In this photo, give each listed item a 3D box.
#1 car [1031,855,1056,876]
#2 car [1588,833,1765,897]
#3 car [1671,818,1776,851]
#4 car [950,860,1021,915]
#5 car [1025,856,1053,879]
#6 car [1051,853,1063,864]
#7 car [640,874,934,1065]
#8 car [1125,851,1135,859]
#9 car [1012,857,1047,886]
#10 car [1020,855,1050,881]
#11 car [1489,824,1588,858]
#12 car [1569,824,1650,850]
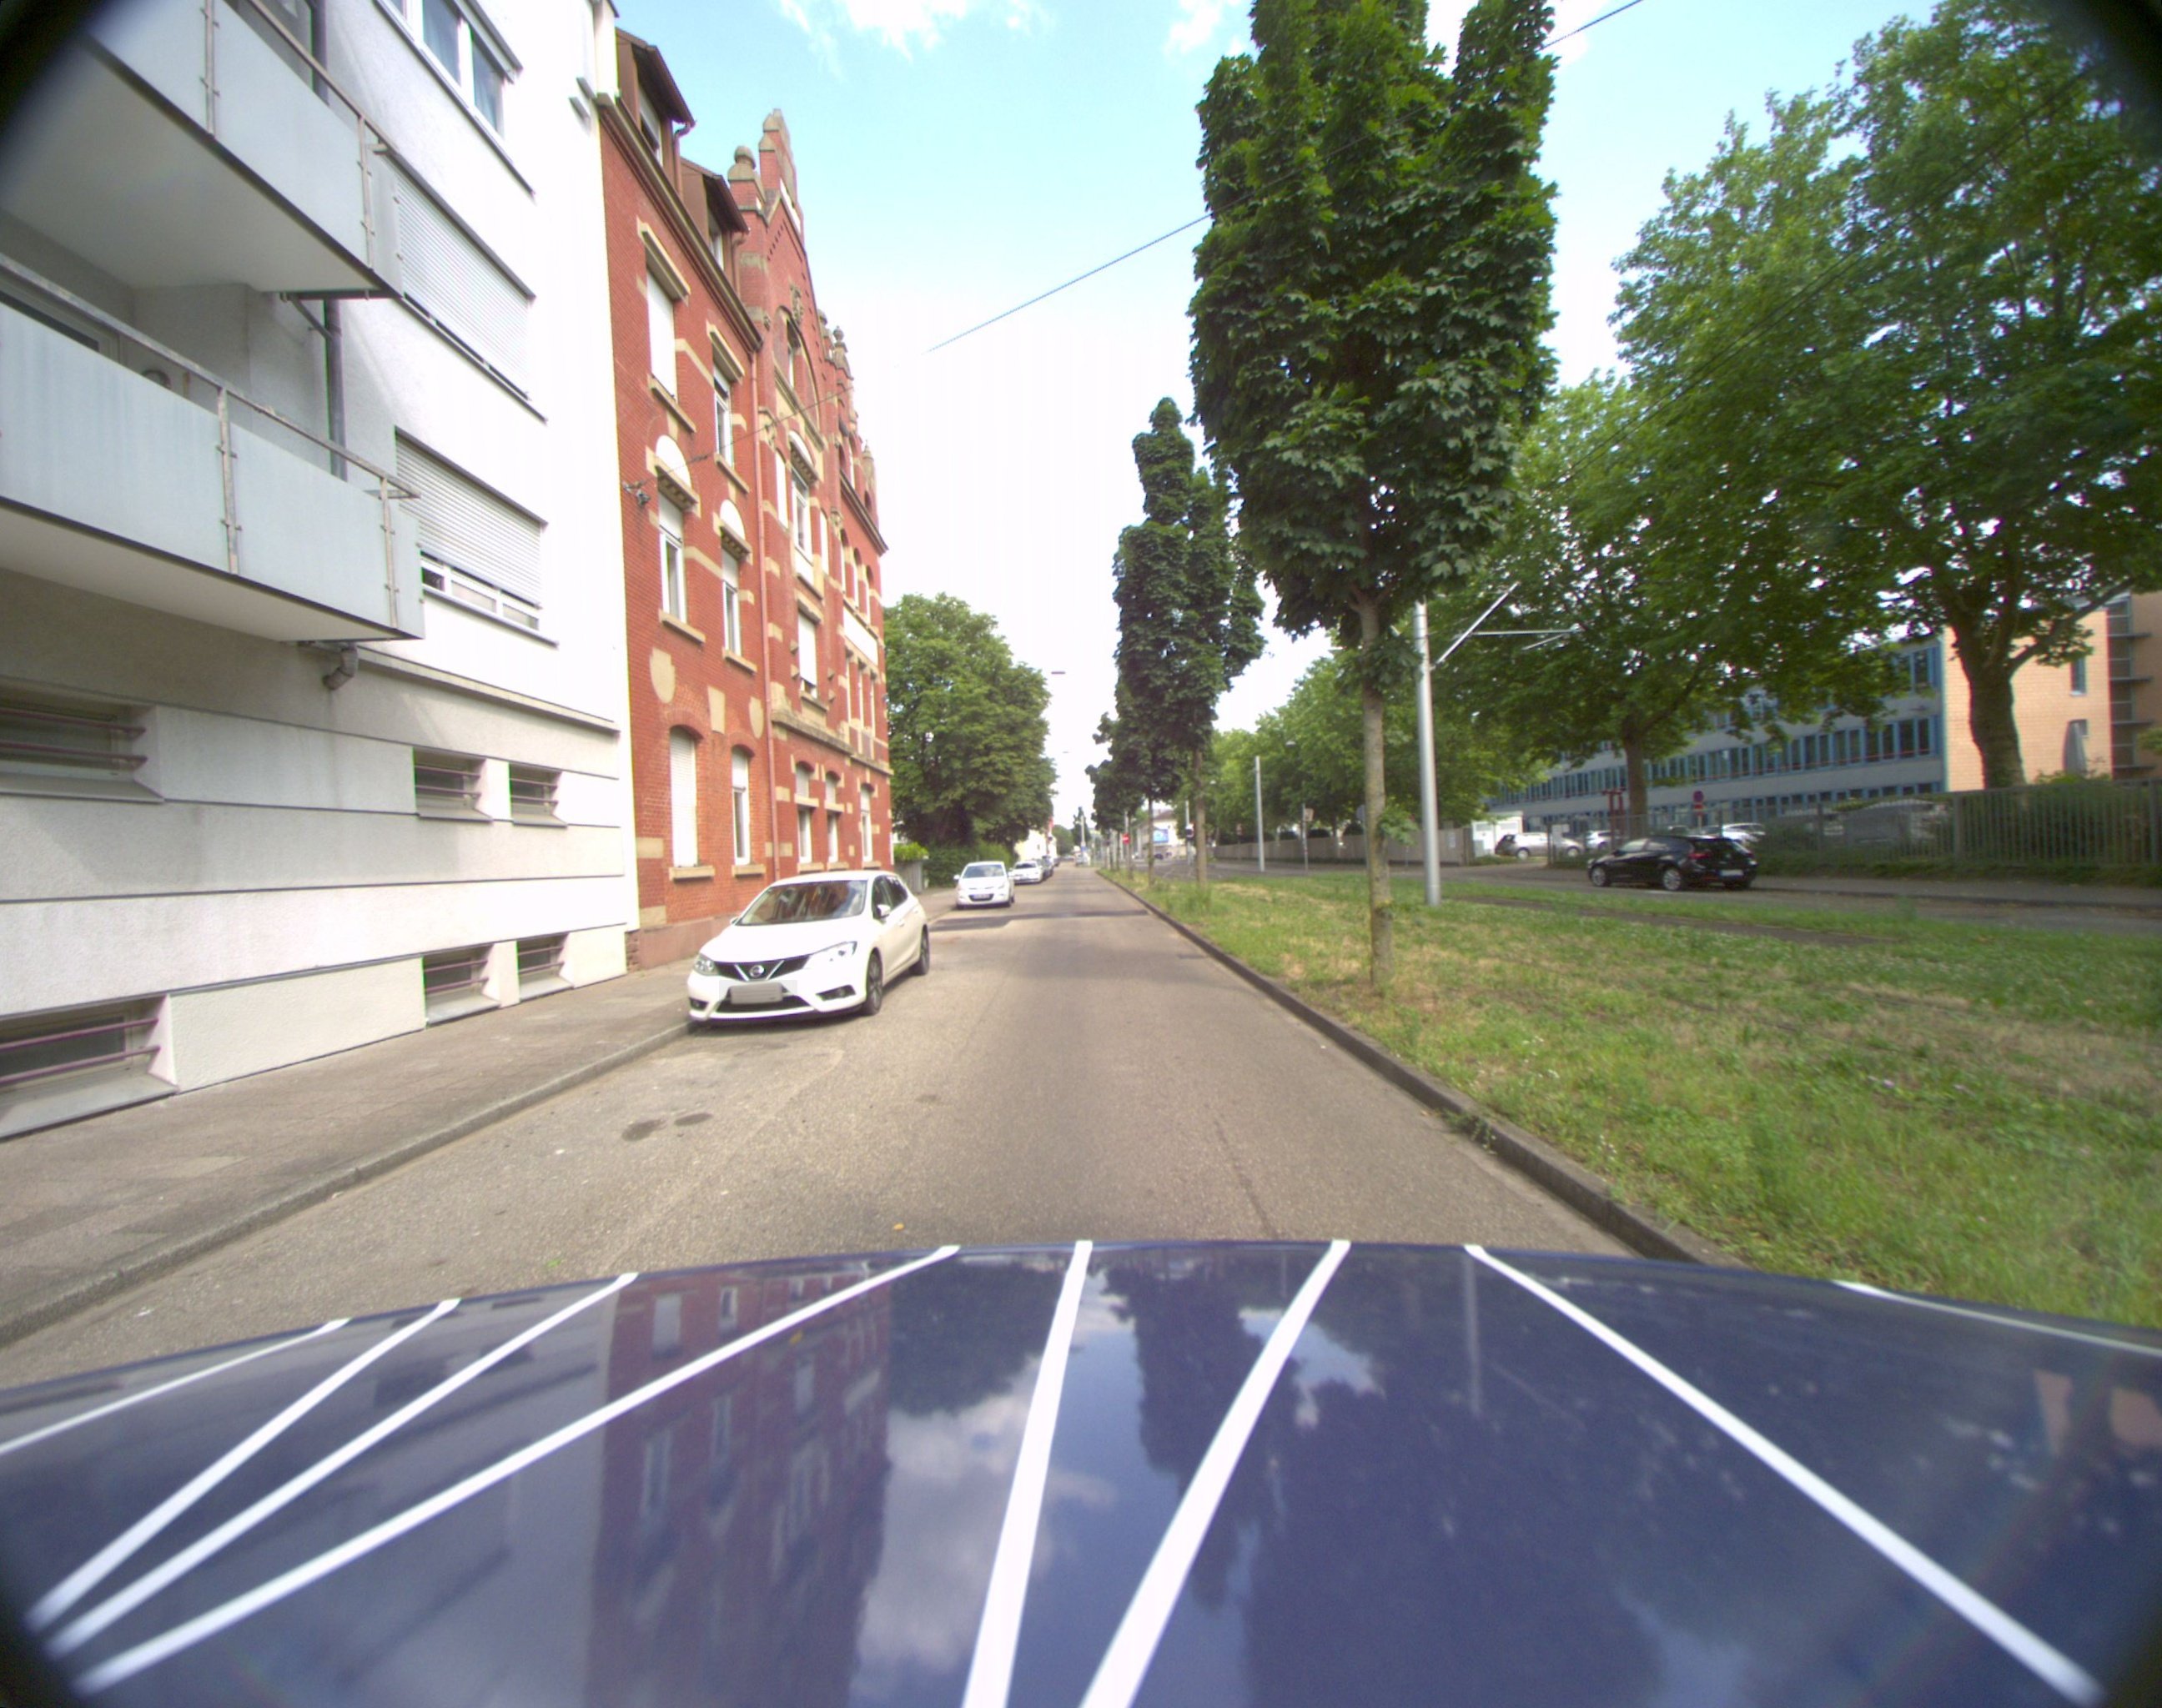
[{"bbox_3d":[-3.133,0.949,63.859,1.801,1.521,4.040,-5,0,0],"label":"car"},{"bbox_3d":[15.559,0.262,20.148,1.601,1.455,4.000,-3,0,2],"label":"car"},{"bbox_3d":[34.565,-1.031,40.958,3.997,1.608,1.999,-2,1,-2],"label":"car"},{"bbox_3d":[-3.074,1.034,25.255,1.801,1.521,4.040,-4,0,0],"label":"car"},{"bbox_3d":[-3.200,0.993,58.446,1.801,1.521,4.040,-5,0,0],"label":"car"},{"bbox_3d":[-3.853,0.694,122.015,1.801,1.521,4.040,-5,0,0],"label":"car"},{"bbox_3d":[-3.053,1.099,8.898,1.801,1.521,4.040,-3,0,0],"label":"car"},{"bbox_3d":[11.049,0.225,172.508,1.801,1.521,4.040,-4,0,0],"label":"car"},{"bbox_3d":[-3.129,1.019,46.750,1.801,1.521,4.040,-5,0,0],"label":"car"},{"bbox_3d":[-3.161,0.948,52.986,1.801,1.521,4.040,-5,0,0],"label":"car"},{"bbox_3d":[24.109,-0.663,40.120,3.997,1.608,1.999,-2,1,-2],"label":"car"},{"bbox_3d":[35.380,-1.135,50.948,3.997,1.608,1.999,-2,1,-2],"label":"car"}]
